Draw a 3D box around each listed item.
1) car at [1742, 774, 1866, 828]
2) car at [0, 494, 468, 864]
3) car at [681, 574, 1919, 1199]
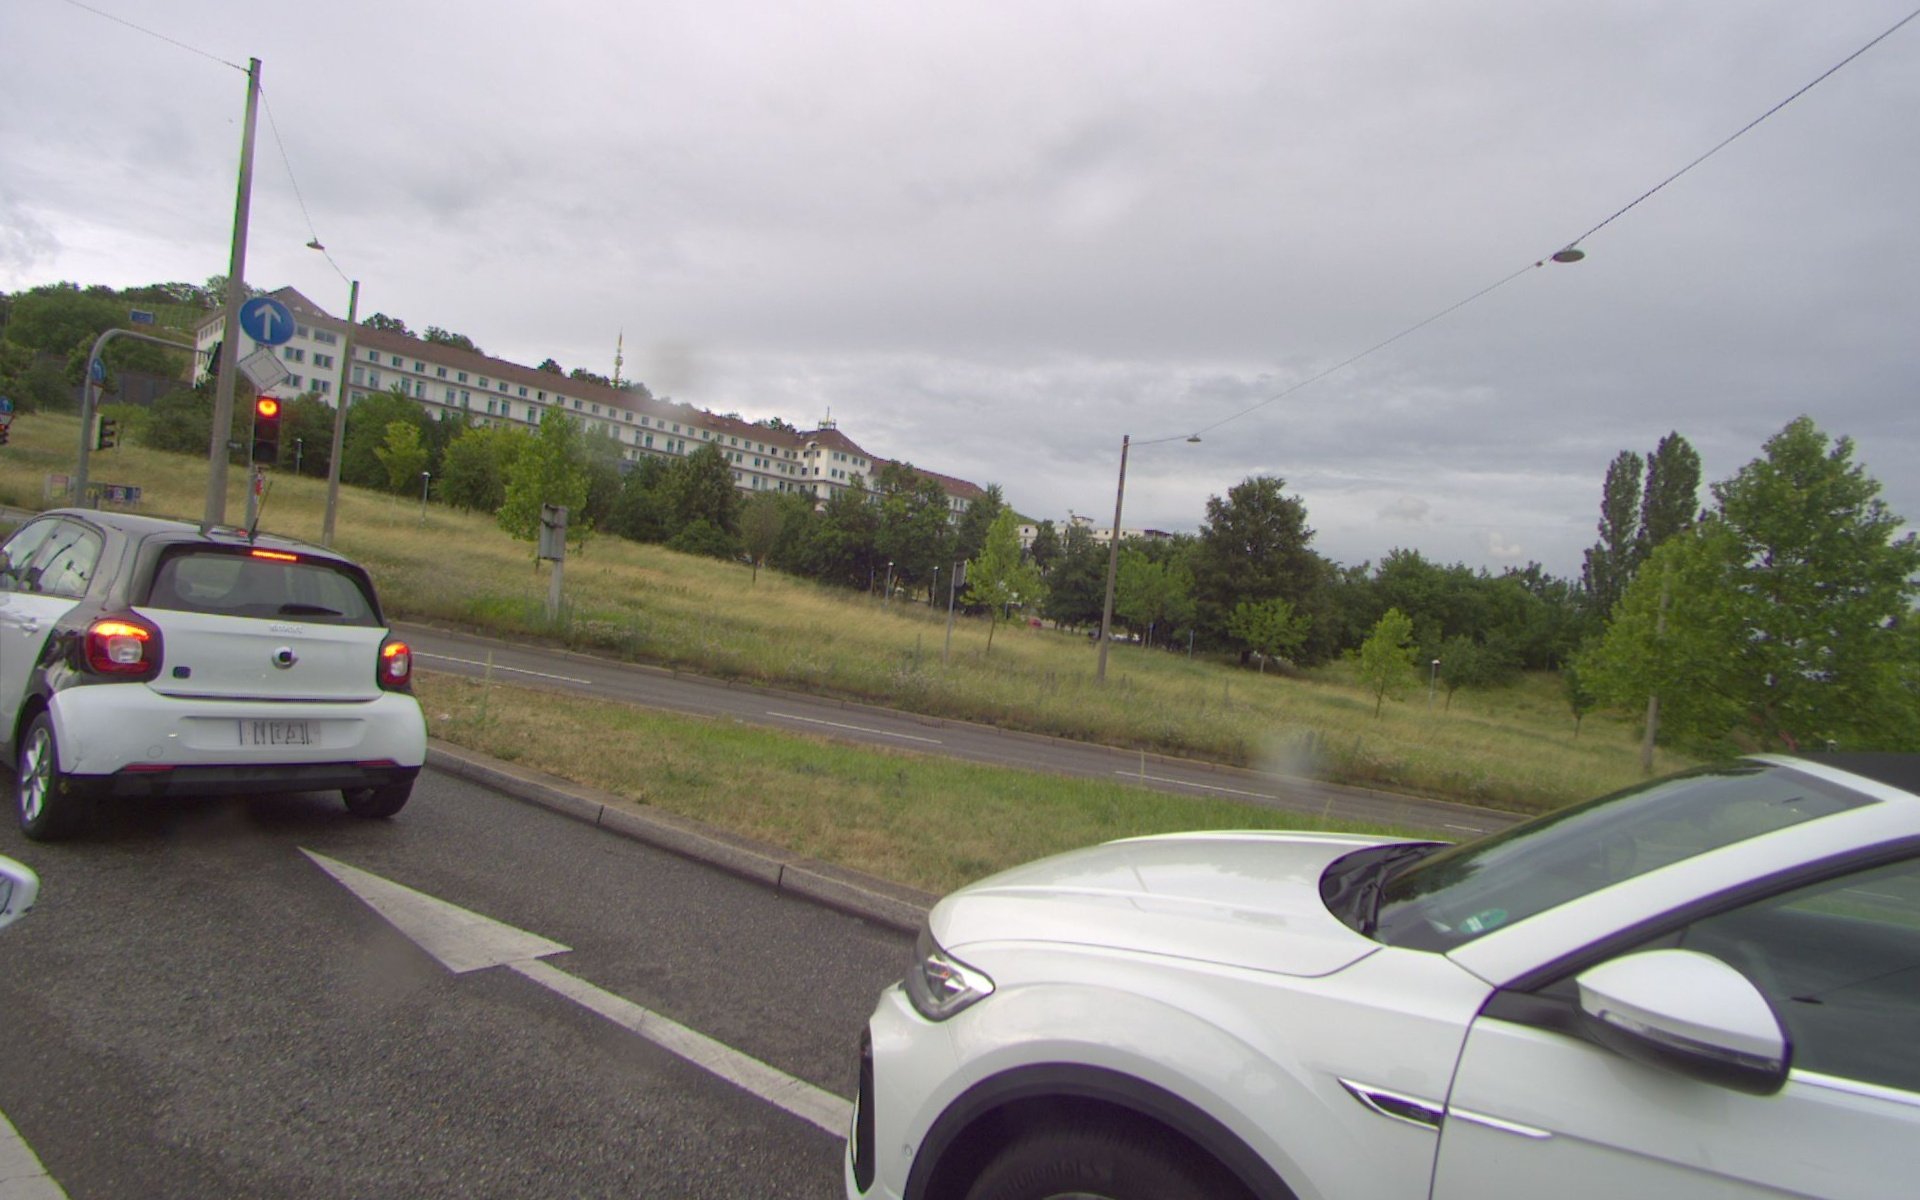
[{"bbox_3d":[34.627,8.253,41.292,3.901,1.554,1.994,8,-2,-16],"label":"car"},{"bbox_3d":[-4.638,0.290,5.842,3.397,1.520,1.659,6,-2,36],"label":"car"},{"bbox_3d":[1.705,0.997,1.816,4.156,1.571,1.718,6,-2,28],"label":"car"}]
